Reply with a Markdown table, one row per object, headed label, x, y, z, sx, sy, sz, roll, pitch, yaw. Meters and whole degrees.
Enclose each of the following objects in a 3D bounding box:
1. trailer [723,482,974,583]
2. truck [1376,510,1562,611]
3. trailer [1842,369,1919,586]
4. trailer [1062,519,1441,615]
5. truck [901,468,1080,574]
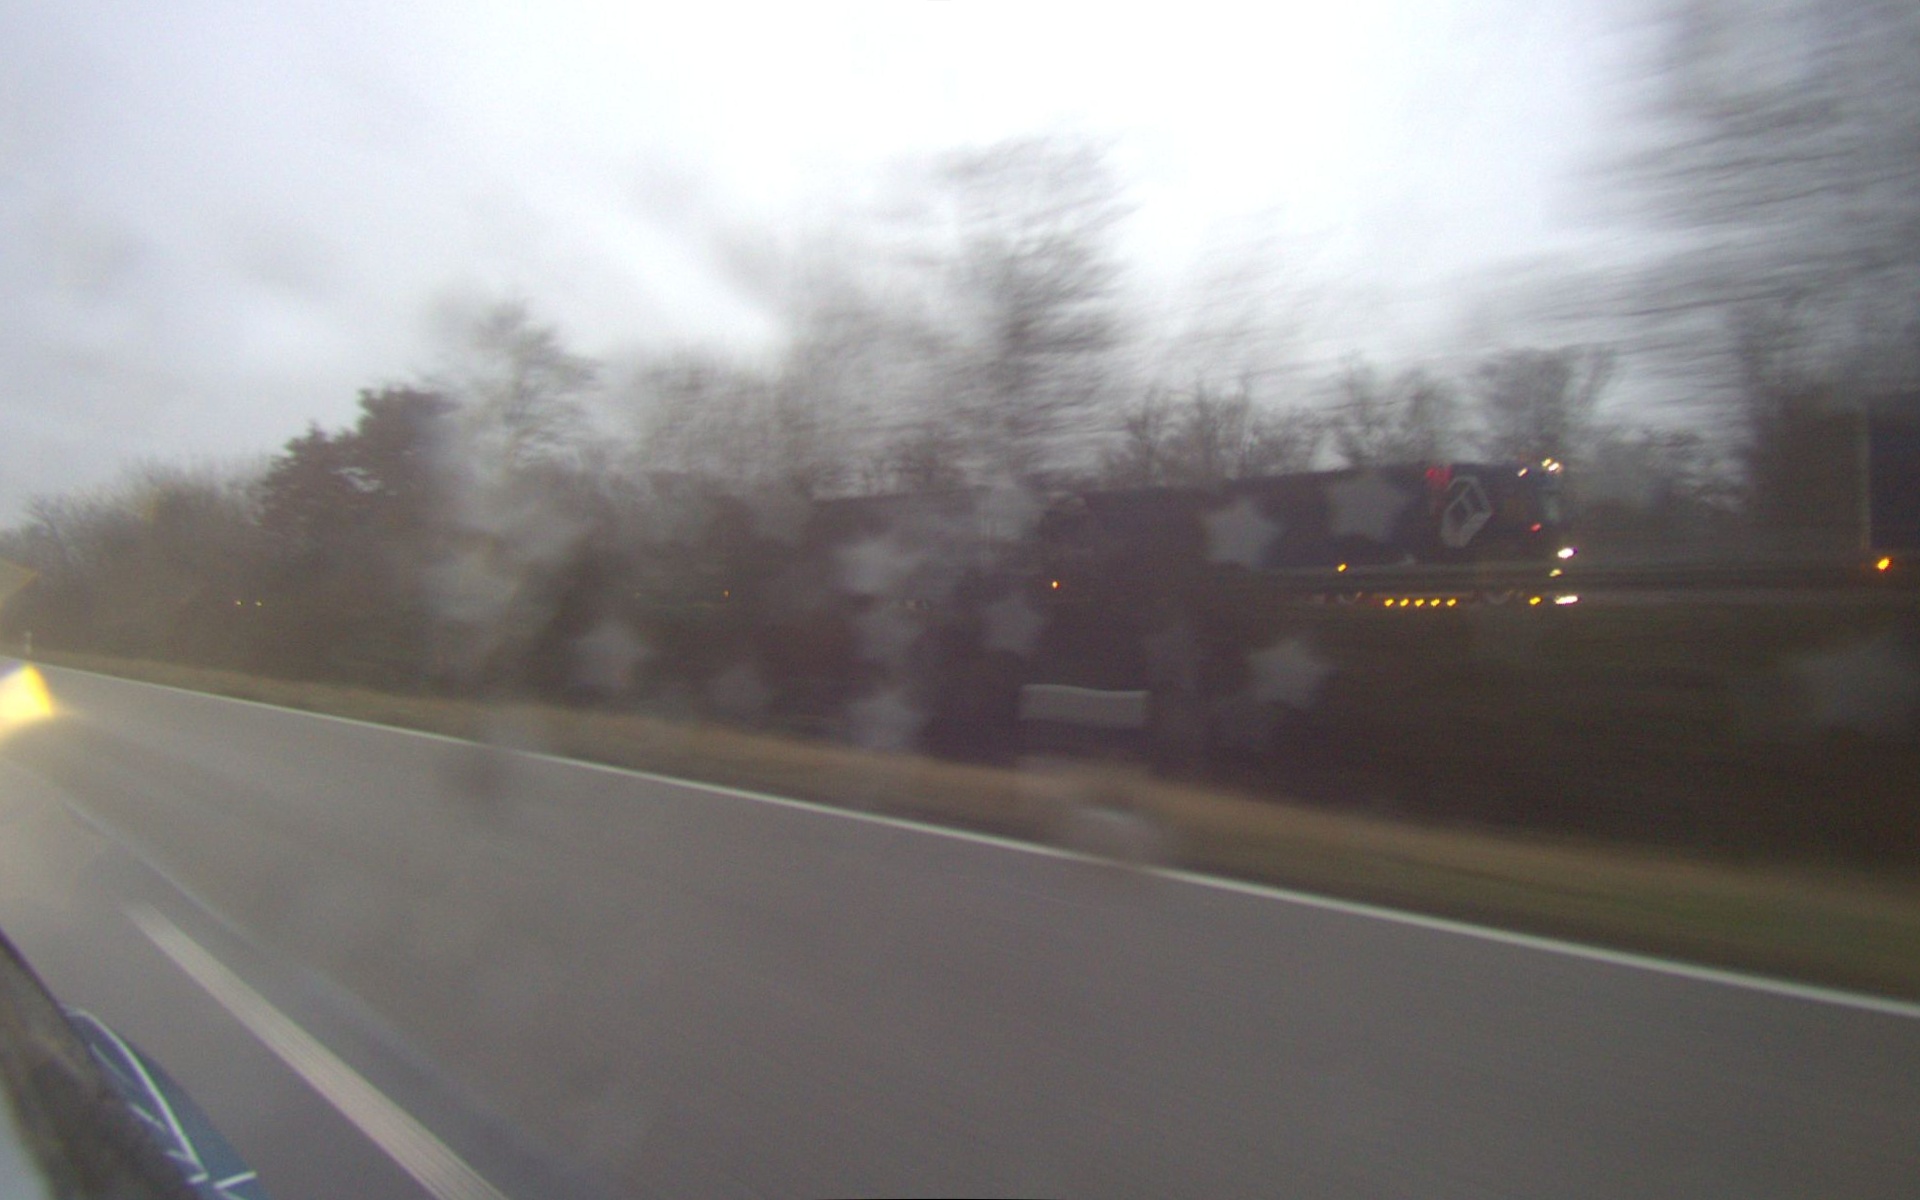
| label | x | y | z | sx | sy | sz | roll | pitch | yaw |
| --- | --- | --- | --- | --- | --- | --- | --- | --- | --- |
| trailer | -4.494 | -2.285 | 37.599 | 11.079 | 2.913 | 2.410 | -1 | -1 | 41 |
| truck | 13.700 | -0.953 | 27.308 | 3.998 | 2.454 | 2.503 | -1 | -2 | 41 |
| trailer | 21.122 | -2.219 | 15.470 | 11.379 | 3.661 | 2.968 | -1 | -1 | 41 |
| trailer | 8.617 | -0.810 | 31.794 | 11.497 | 2.443 | 2.482 | -1 | -2 | 41 |
| truck | 0.909 | -2.430 | 32.892 | 5.580 | 2.909 | 2.424 | -1 | -1 | 41 |
